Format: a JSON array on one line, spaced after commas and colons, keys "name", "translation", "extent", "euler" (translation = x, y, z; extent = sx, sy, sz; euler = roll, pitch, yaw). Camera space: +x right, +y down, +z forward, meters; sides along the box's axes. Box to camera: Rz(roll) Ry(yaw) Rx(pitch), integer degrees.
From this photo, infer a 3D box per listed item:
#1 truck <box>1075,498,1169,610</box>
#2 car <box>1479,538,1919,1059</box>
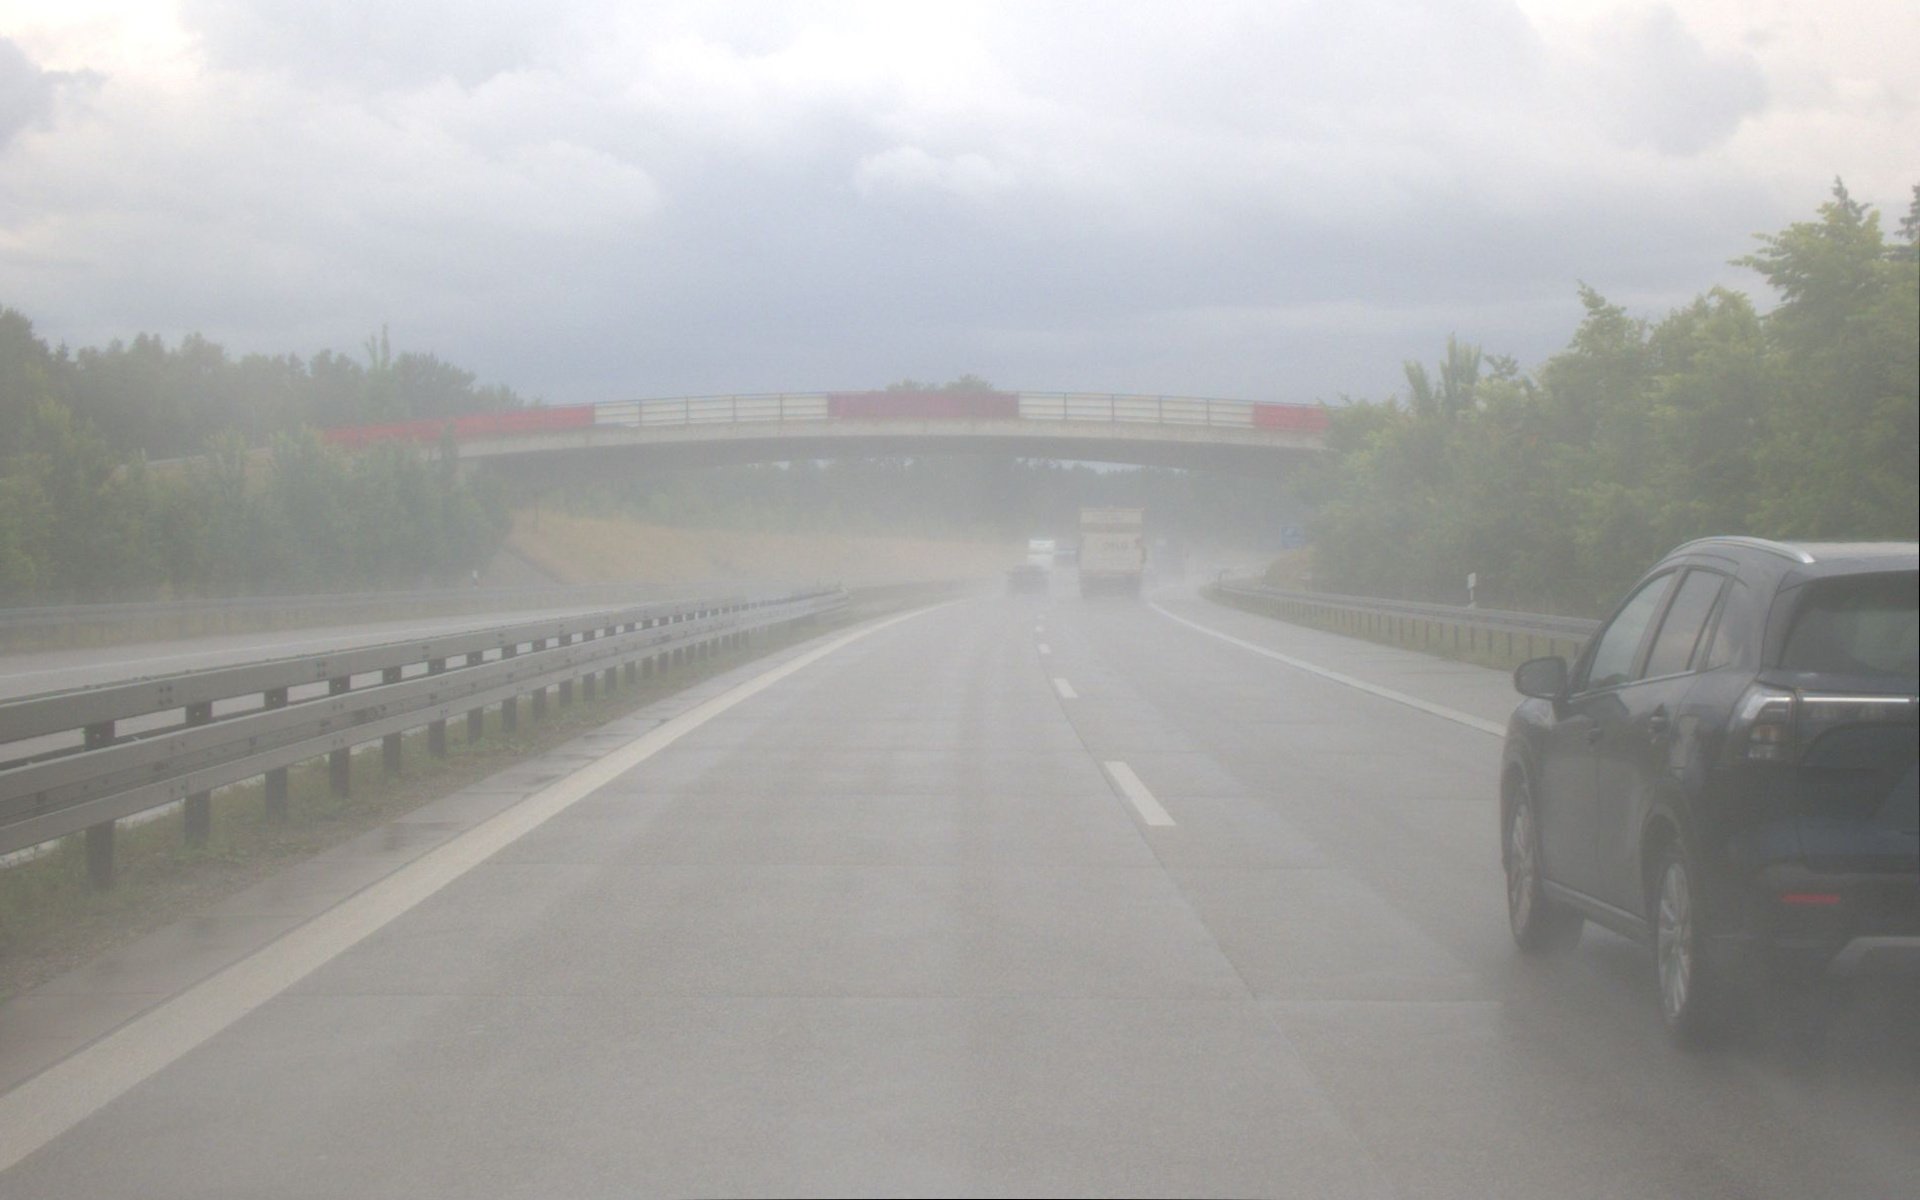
[{"name": "truck", "translation": [6.612, -1.888, 139.209], "extent": [3.244, 4.422, 8.244], "euler": [0, 1, 7]}, {"name": "car", "translation": [3.034, 0.585, 12.250], "extent": [1.894, 1.570, 3.632], "euler": [1, 1, 2]}]
